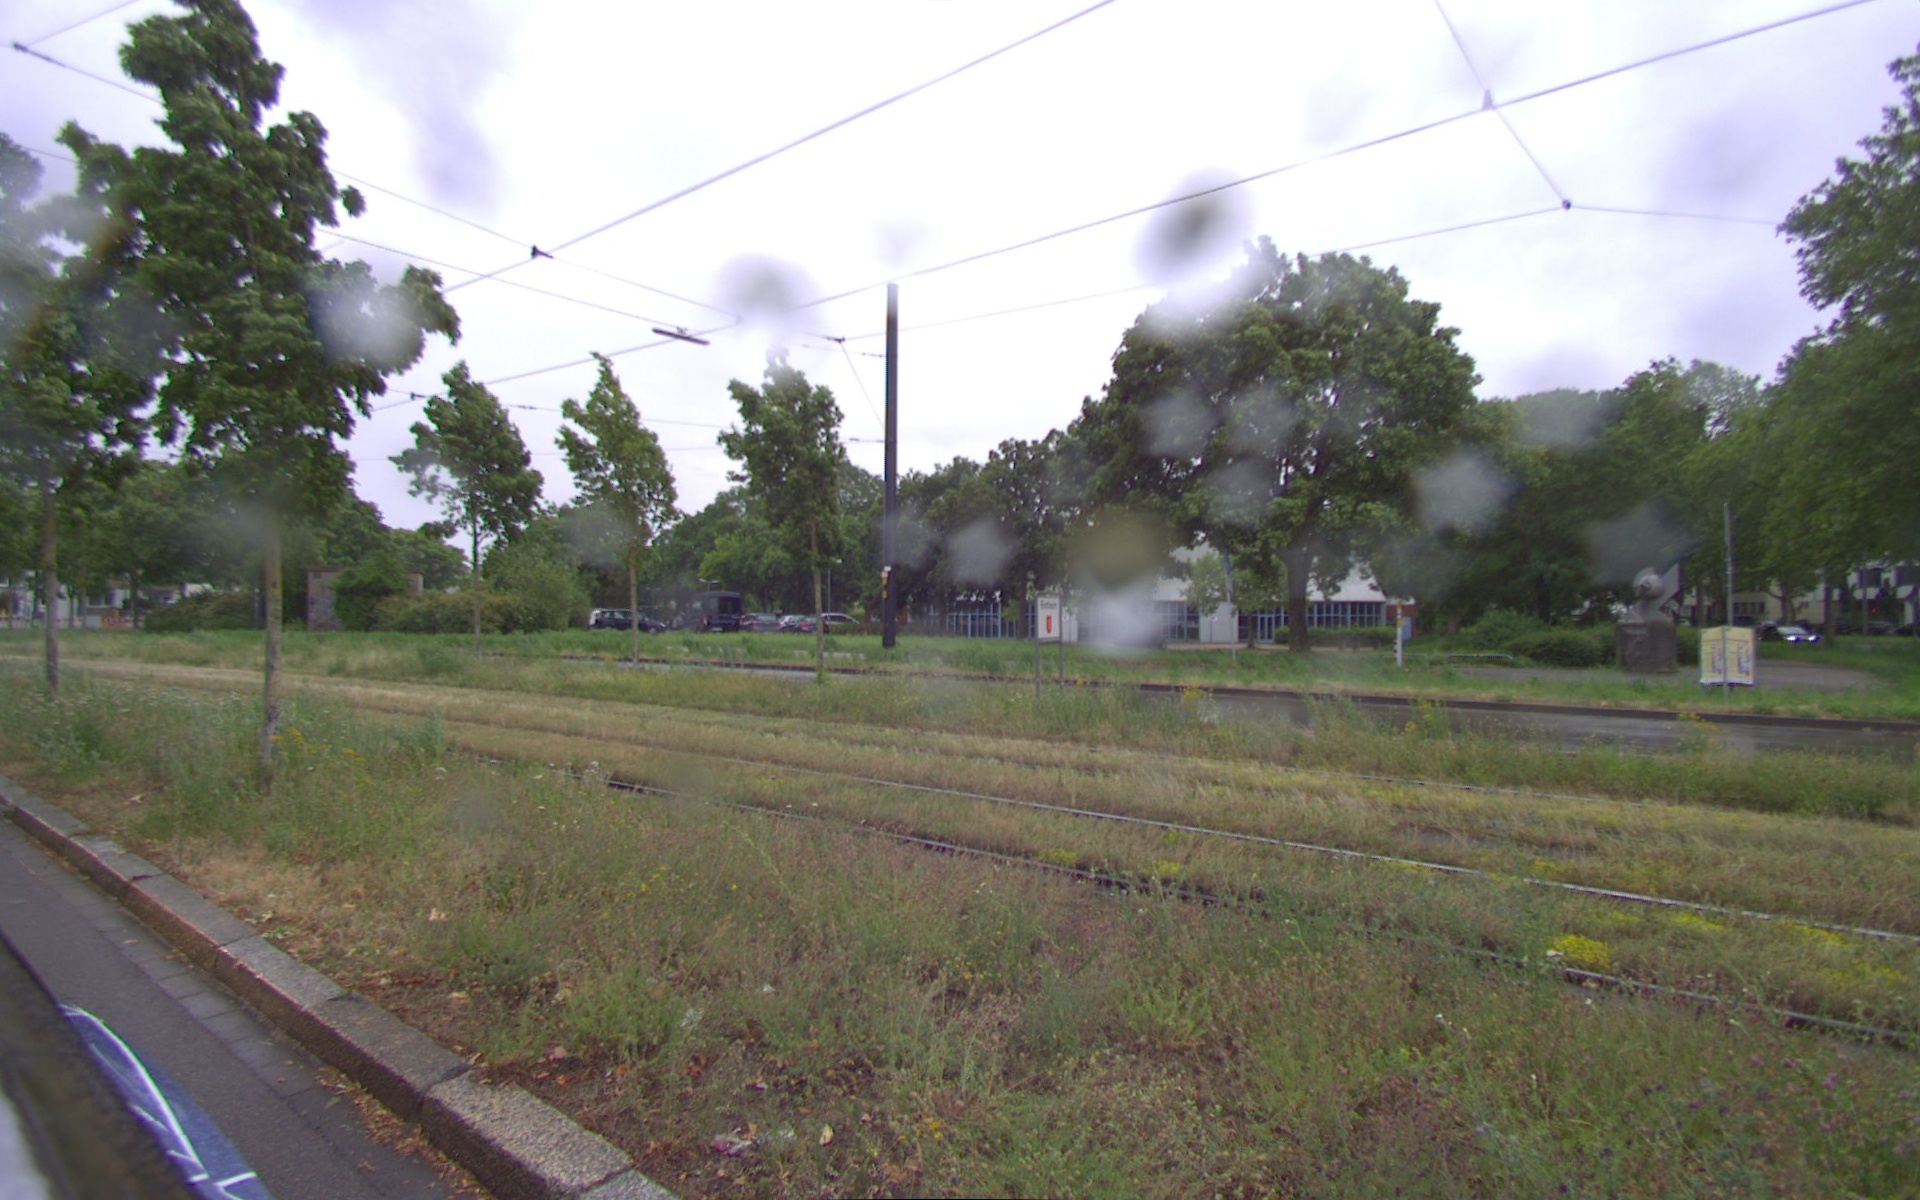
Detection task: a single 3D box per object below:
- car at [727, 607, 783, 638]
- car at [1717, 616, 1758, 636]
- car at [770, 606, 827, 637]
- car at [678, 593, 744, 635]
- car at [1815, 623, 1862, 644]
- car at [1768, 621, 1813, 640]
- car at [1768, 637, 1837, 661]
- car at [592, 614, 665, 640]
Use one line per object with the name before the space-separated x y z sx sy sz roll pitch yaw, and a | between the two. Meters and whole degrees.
car | -10.930 1.175 53.709 1.726 1.542 4.865 -1 0 -25
car | 86.268 2.826 112.324 2.108 2.104 3.982 -1 0 14
car | -8.748 1.120 54.387 2.026 1.584 5.032 -1 0 -21
car | -12.848 0.700 51.936 2.273 2.029 5.134 -1 0 -25
car | 81.635 3.097 94.071 1.986 1.796 3.972 -1 0 21
car | 82.955 3.018 101.169 1.982 1.796 3.979 -1 0 16
car | 52.449 3.025 63.092 1.790 1.412 4.287 -2 -3 18
car | -20.306 1.642 61.943 4.110 1.494 1.789 -1 0 -23
